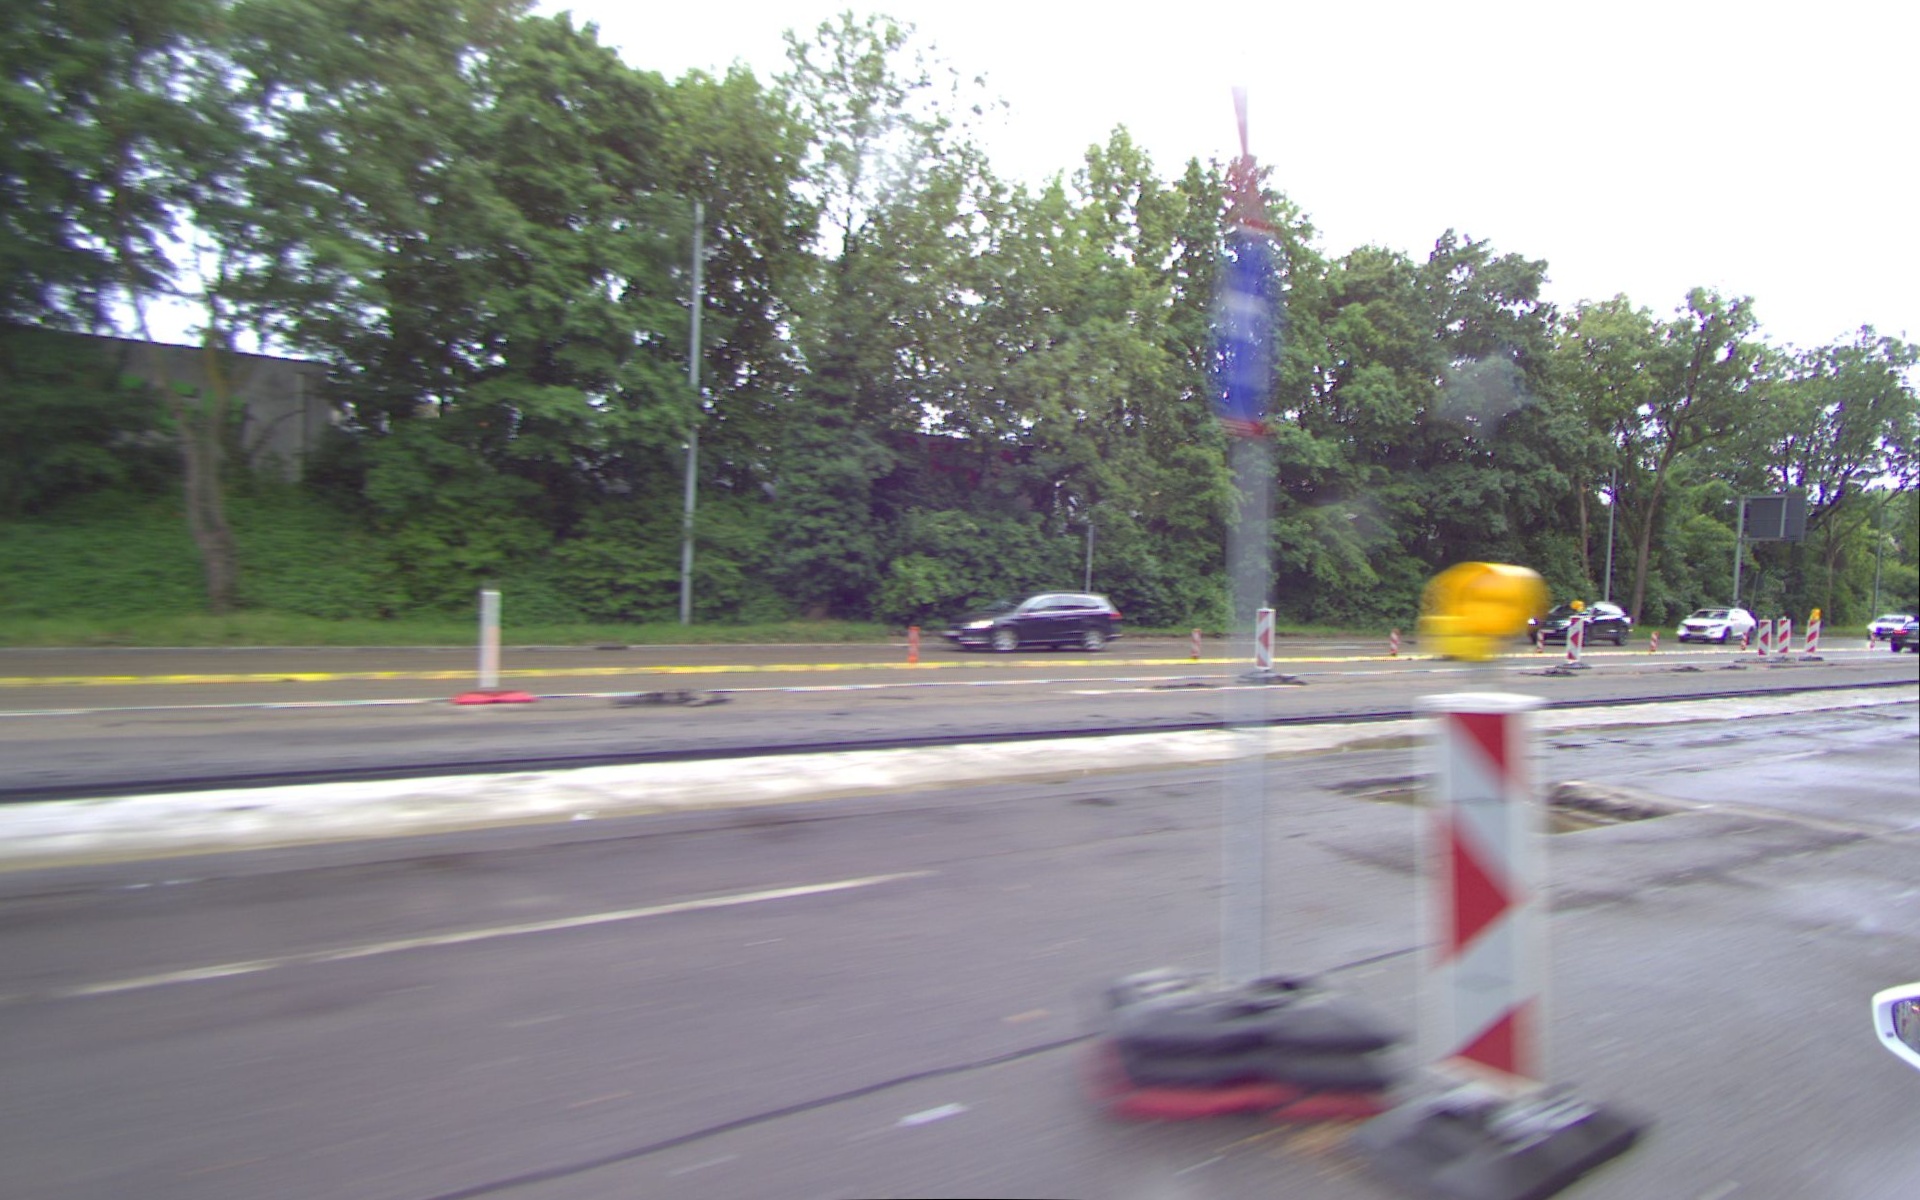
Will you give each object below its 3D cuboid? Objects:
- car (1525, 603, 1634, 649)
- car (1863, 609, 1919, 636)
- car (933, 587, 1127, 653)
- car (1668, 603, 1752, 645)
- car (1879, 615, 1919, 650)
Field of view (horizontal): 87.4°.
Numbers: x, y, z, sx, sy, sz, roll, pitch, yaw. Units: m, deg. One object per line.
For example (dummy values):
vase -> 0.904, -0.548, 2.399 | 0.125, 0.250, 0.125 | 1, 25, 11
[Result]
car -> 24.084, 1.019, 38.991 | 4.864, 1.685, 1.766 | 1, 0, -34
car -> 56.574, 1.367, 60.957 | 4.113, 1.561, 1.657 | 1, -1, -33
car -> 1.777, 0.496, 24.865 | 4.630, 1.472, 1.774 | 1, 1, -32
car -> 34.617, 1.103, 46.324 | 4.335, 1.774, 1.766 | 1, 1, -34
car -> 42.113, 1.422, 44.155 | 3.999, 1.423, 1.597 | 1, 2, -34
